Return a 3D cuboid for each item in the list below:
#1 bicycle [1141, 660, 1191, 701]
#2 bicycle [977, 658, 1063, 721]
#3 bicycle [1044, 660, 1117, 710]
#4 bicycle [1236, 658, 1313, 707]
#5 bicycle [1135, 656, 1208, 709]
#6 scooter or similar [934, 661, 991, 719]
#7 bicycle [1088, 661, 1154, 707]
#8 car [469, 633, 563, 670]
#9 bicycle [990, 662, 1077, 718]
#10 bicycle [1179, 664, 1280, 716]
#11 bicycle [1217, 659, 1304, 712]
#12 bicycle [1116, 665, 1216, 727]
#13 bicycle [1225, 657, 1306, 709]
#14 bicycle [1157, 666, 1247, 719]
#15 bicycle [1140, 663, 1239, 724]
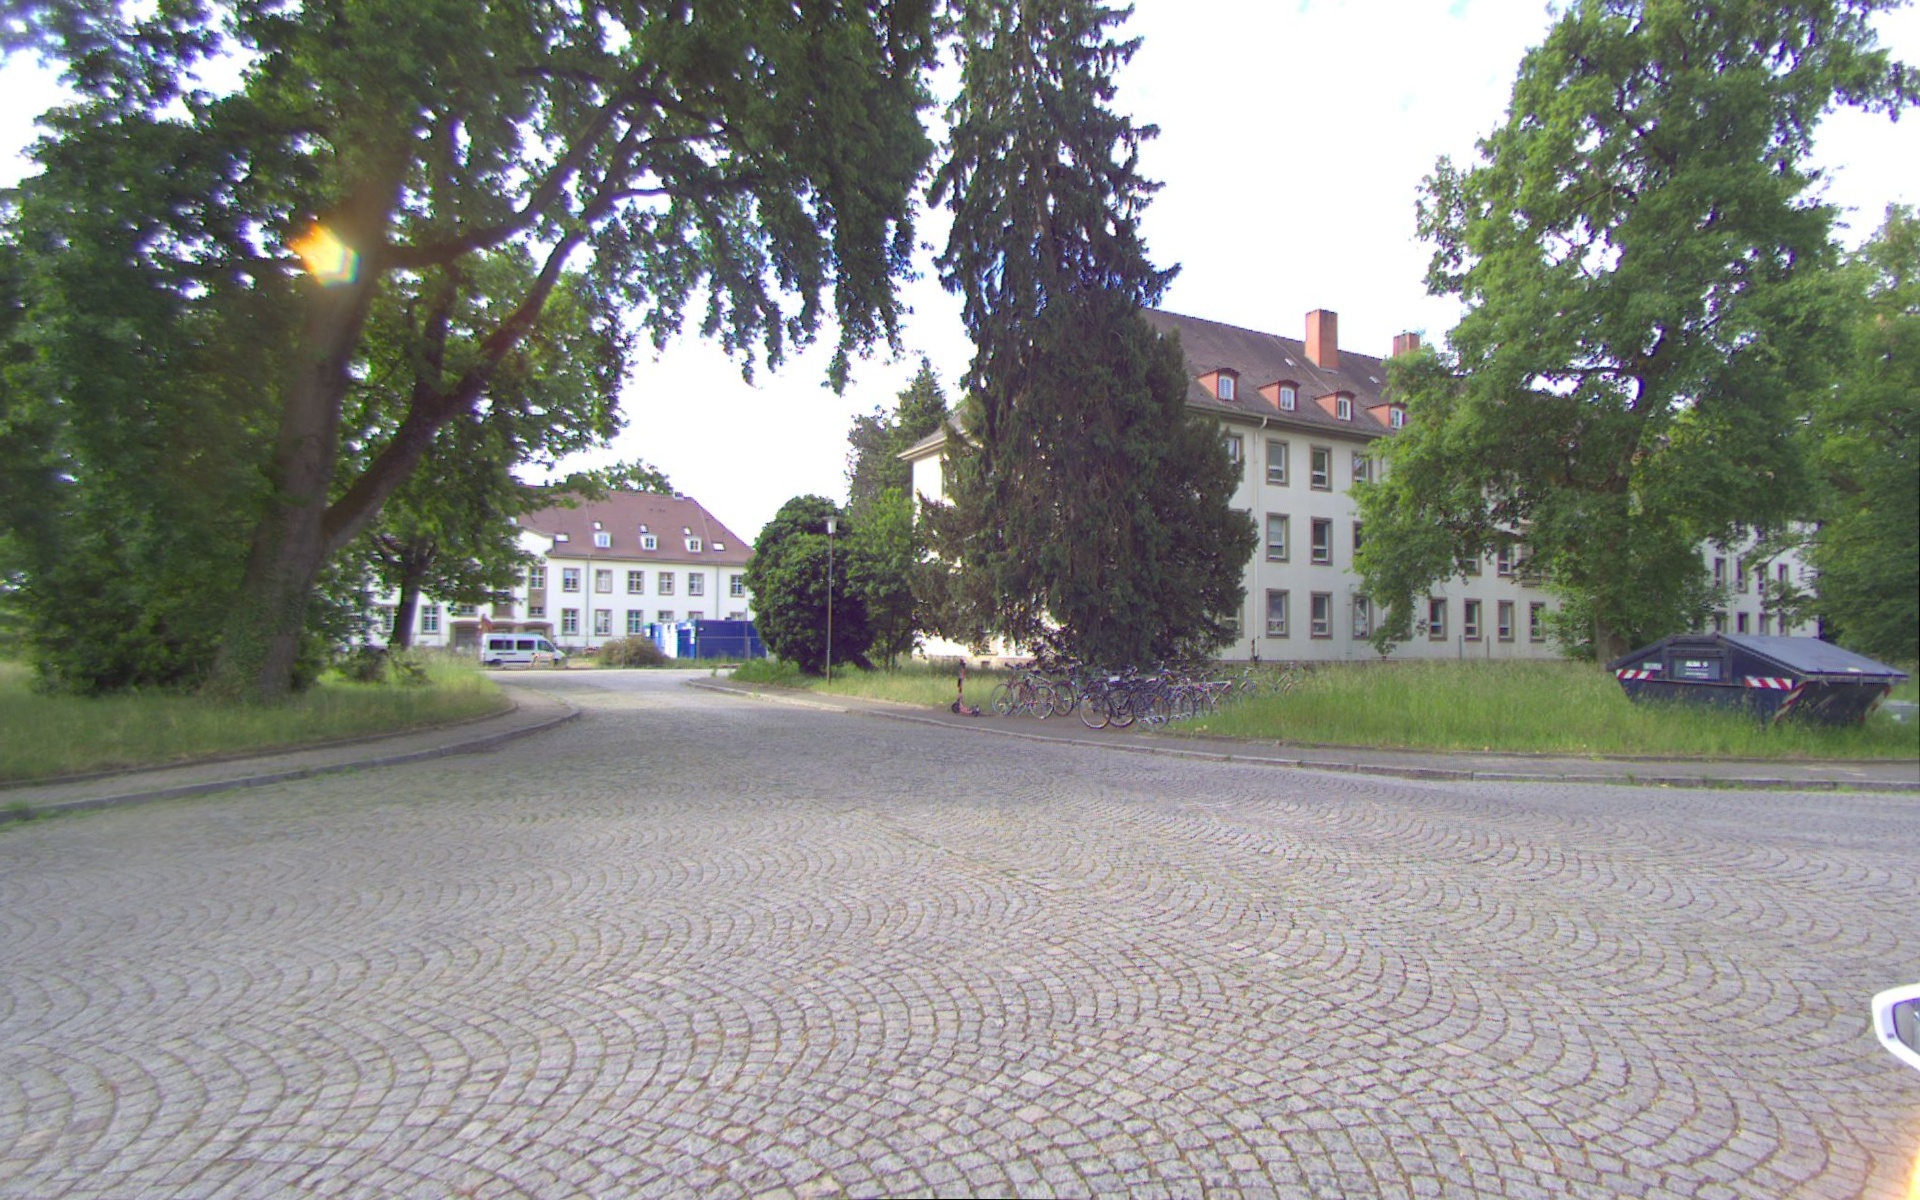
[{"bbox_3d":[5.401,2.105,26.373,1.246,1.042,0.431,-4,-7,43],"label":"bicycle"},{"bbox_3d":[1.282,1.897,21.703,1.875,1.239,0.640,-1,-1,43],"label":"bicycle"},{"bbox_3d":[2.784,1.961,23.348,1.602,1.088,0.538,-1,-1,32],"label":"bicycle"},{"bbox_3d":[7.268,1.909,23.269,1.599,1.073,0.524,-4,-2,43],"label":"bicycle"},{"bbox_3d":[5.119,1.987,24.334,1.618,1.201,0.572,-2,-1,37],"label":"bicycle"},{"bbox_3d":[0.037,1.974,22.255,0.673,1.210,1.544,0,-3,-24],"label":"scooter or similar"},{"bbox_3d":[3.896,2.017,24.353,1.490,1.049,0.544,-1,-1,32],"label":"bicycle"},{"bbox_3d":[-29.333,3.437,66.426,5.464,2.236,2.110,3,0,-29],"label":"car"},{"bbox_3d":[1.611,1.970,22.259,1.964,1.129,0.640,-2,-1,43],"label":"bicycle"},{"bbox_3d":[5.602,1.859,20.963,1.933,1.018,0.682,-4,-2,43],"label":"bicycle"},{"bbox_3d":[6.665,1.884,22.338,1.752,1.119,0.538,-4,-2,43],"label":"bicycle"},{"bbox_3d":[3.962,1.828,19.391,1.749,1.118,0.698,-4,-2,43],"label":"bicycle"},{"bbox_3d":[6.930,1.875,22.837,1.678,1.131,0.538,-4,-2,43],"label":"bicycle"},{"bbox_3d":[4.924,1.871,20.479,1.673,1.015,0.628,-4,-2,43],"label":"bicycle"},{"bbox_3d":[4.528,1.825,19.870,1.774,1.118,0.698,-4,-2,43],"label":"bicycle"}]
